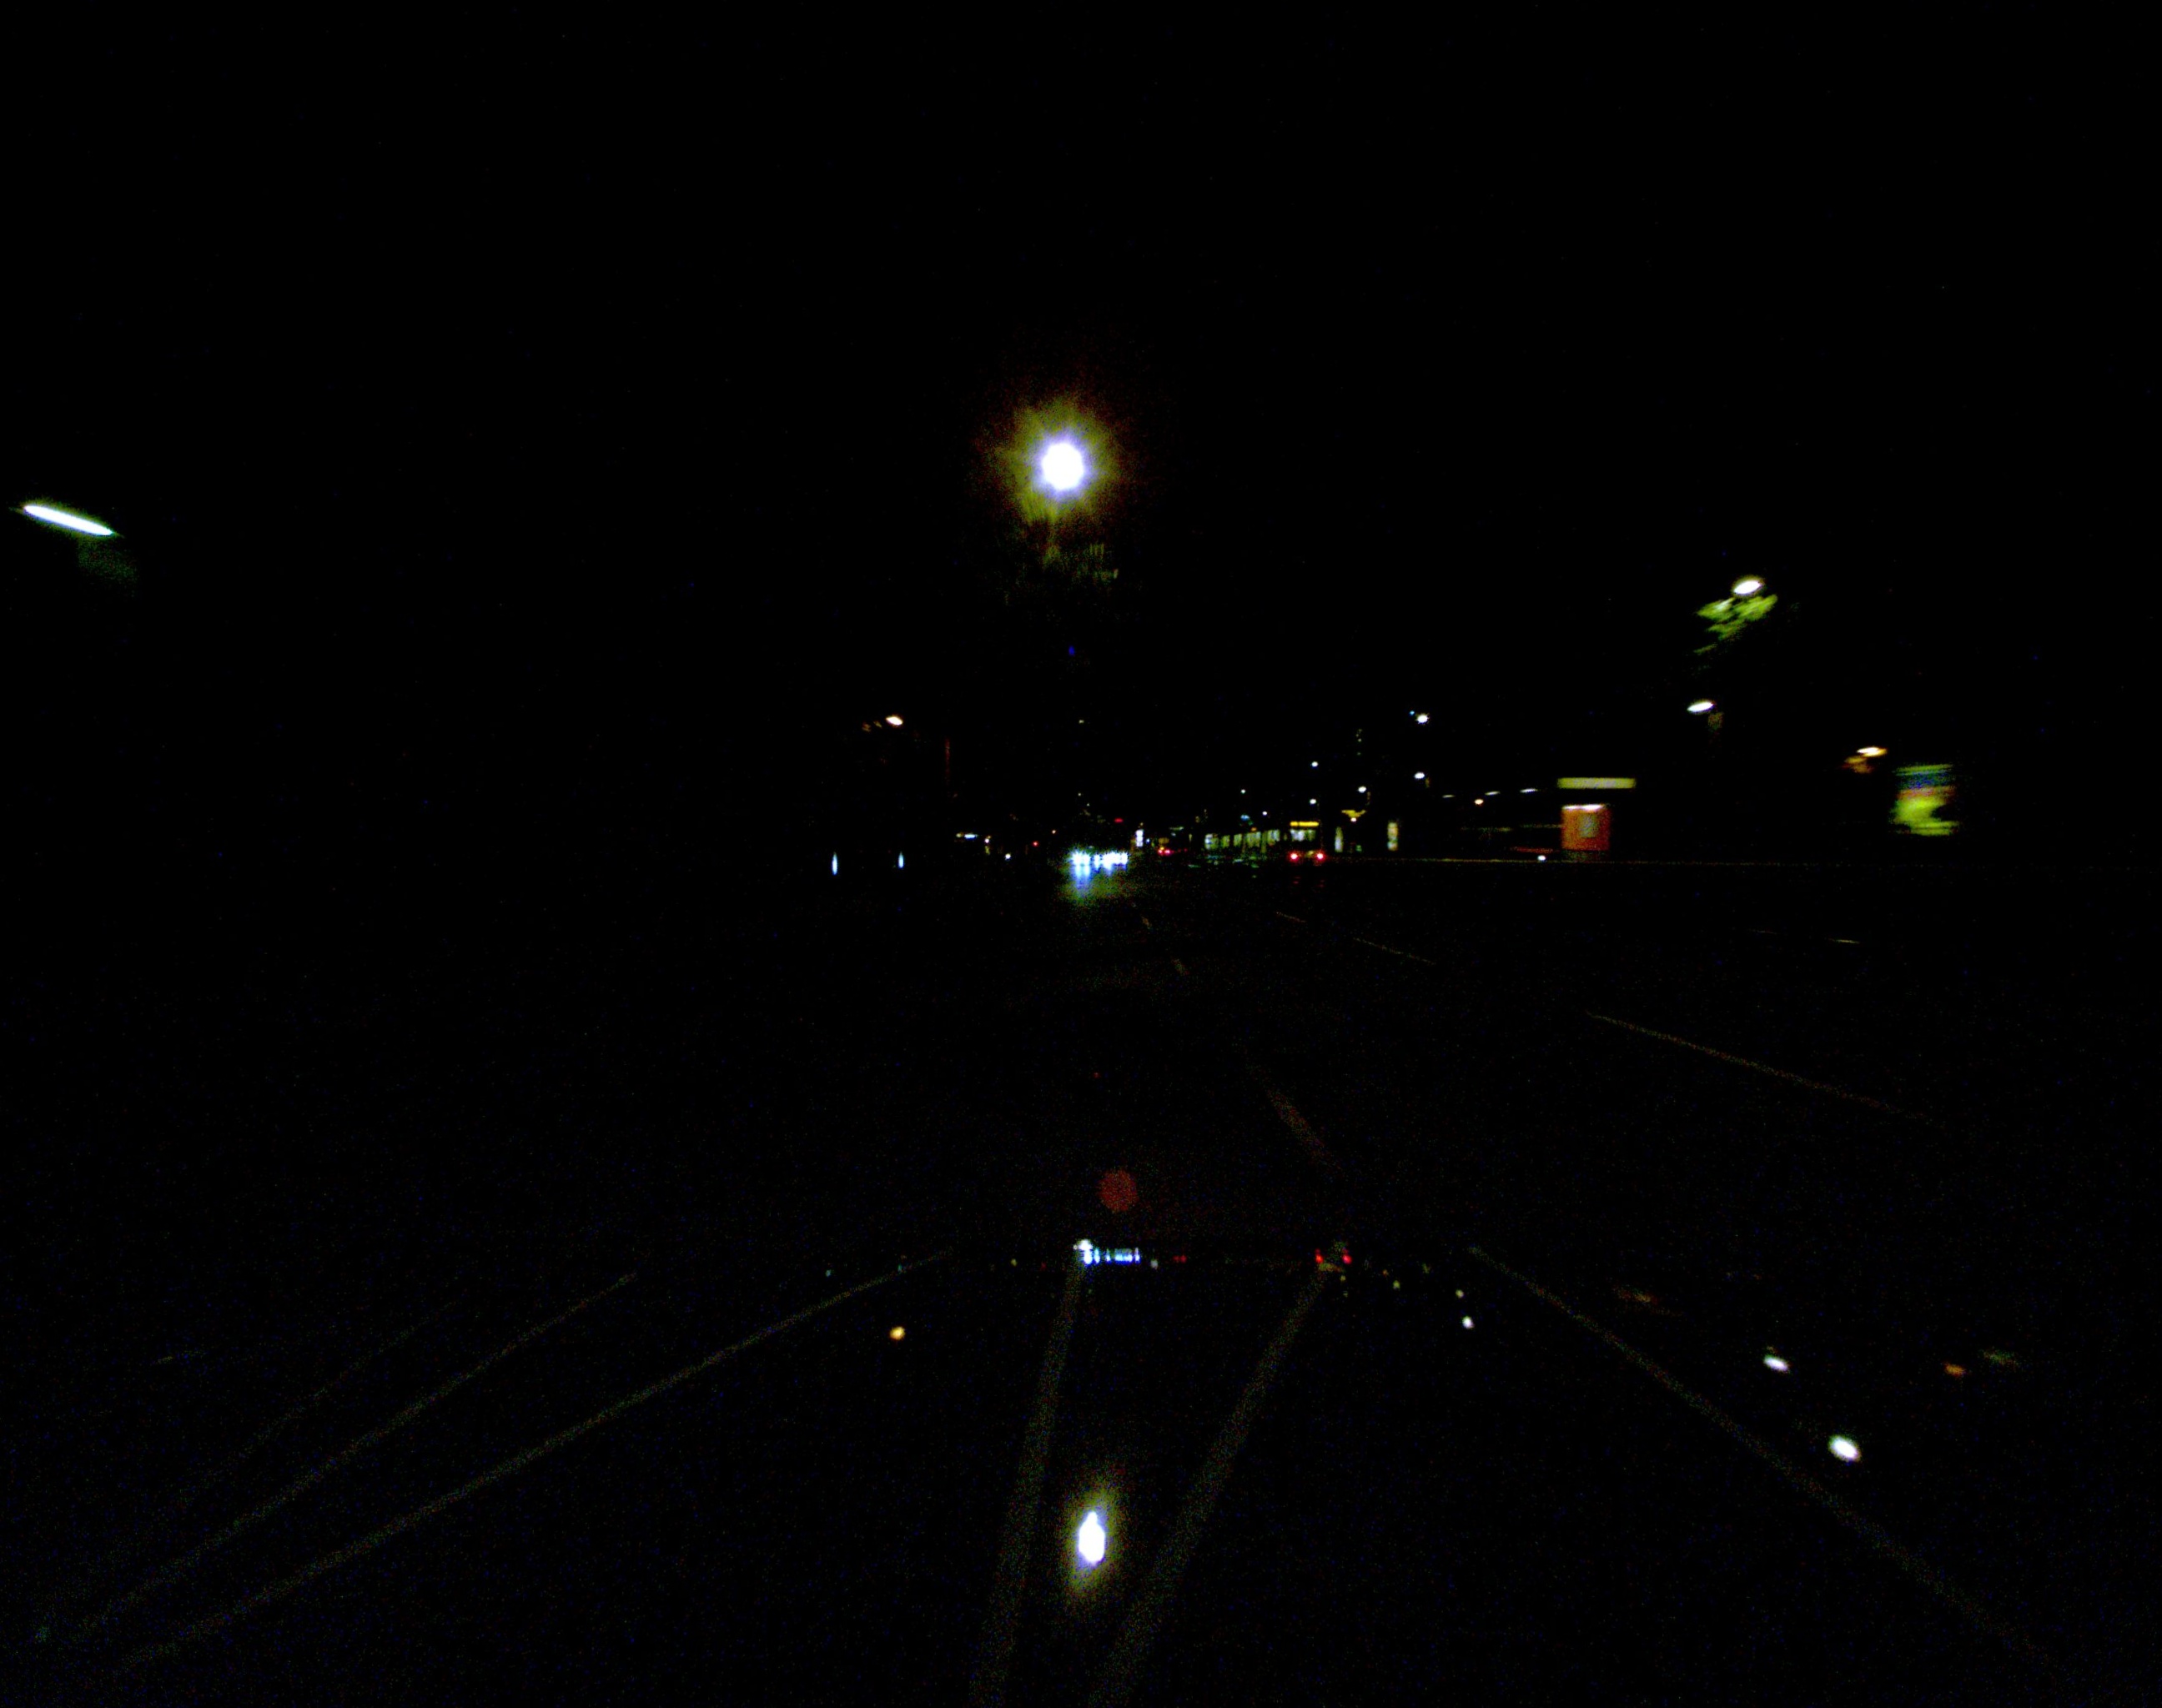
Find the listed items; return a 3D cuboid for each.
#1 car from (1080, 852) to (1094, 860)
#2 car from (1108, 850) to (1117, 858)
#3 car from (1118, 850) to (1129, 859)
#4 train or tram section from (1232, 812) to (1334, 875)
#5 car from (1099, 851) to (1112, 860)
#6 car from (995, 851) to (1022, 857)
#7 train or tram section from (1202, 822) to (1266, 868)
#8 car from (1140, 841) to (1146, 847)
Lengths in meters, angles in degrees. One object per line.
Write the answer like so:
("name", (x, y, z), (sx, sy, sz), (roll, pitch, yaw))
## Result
("car", (1.039, 0.306, 129.680), (1.947, 1.299, 3.907), (1, 0, 7))
("car", (7.050, 0.061, 169.449), (1.827, 1.696, 4.001), (-2, 1, 4))
("car", (8.079, 0.136, 145.561), (1.908, 1.609, 3.718), (-2, 1, 1))
("train or tram section", (14.194, -0.699, 55.646), (2.765, 3.805, 18.670), (-2, 0, 1))
("car", (4.249, 0.188, 129.589), (1.858, 1.482, 3.560), (-2, 0, 7))
("car", (-11.108, 0.002, 116.973), (4.008, 1.028, 1.480), (0, -1, -41))
("train or tram section", (14.628, -0.818, 74.668), (2.745, 3.824, 19.363), (-2, 0, 1))
("car", (18.138, -2.819, 221.993), (1.827, 1.696, 4.001), (-2, 1, 4))
